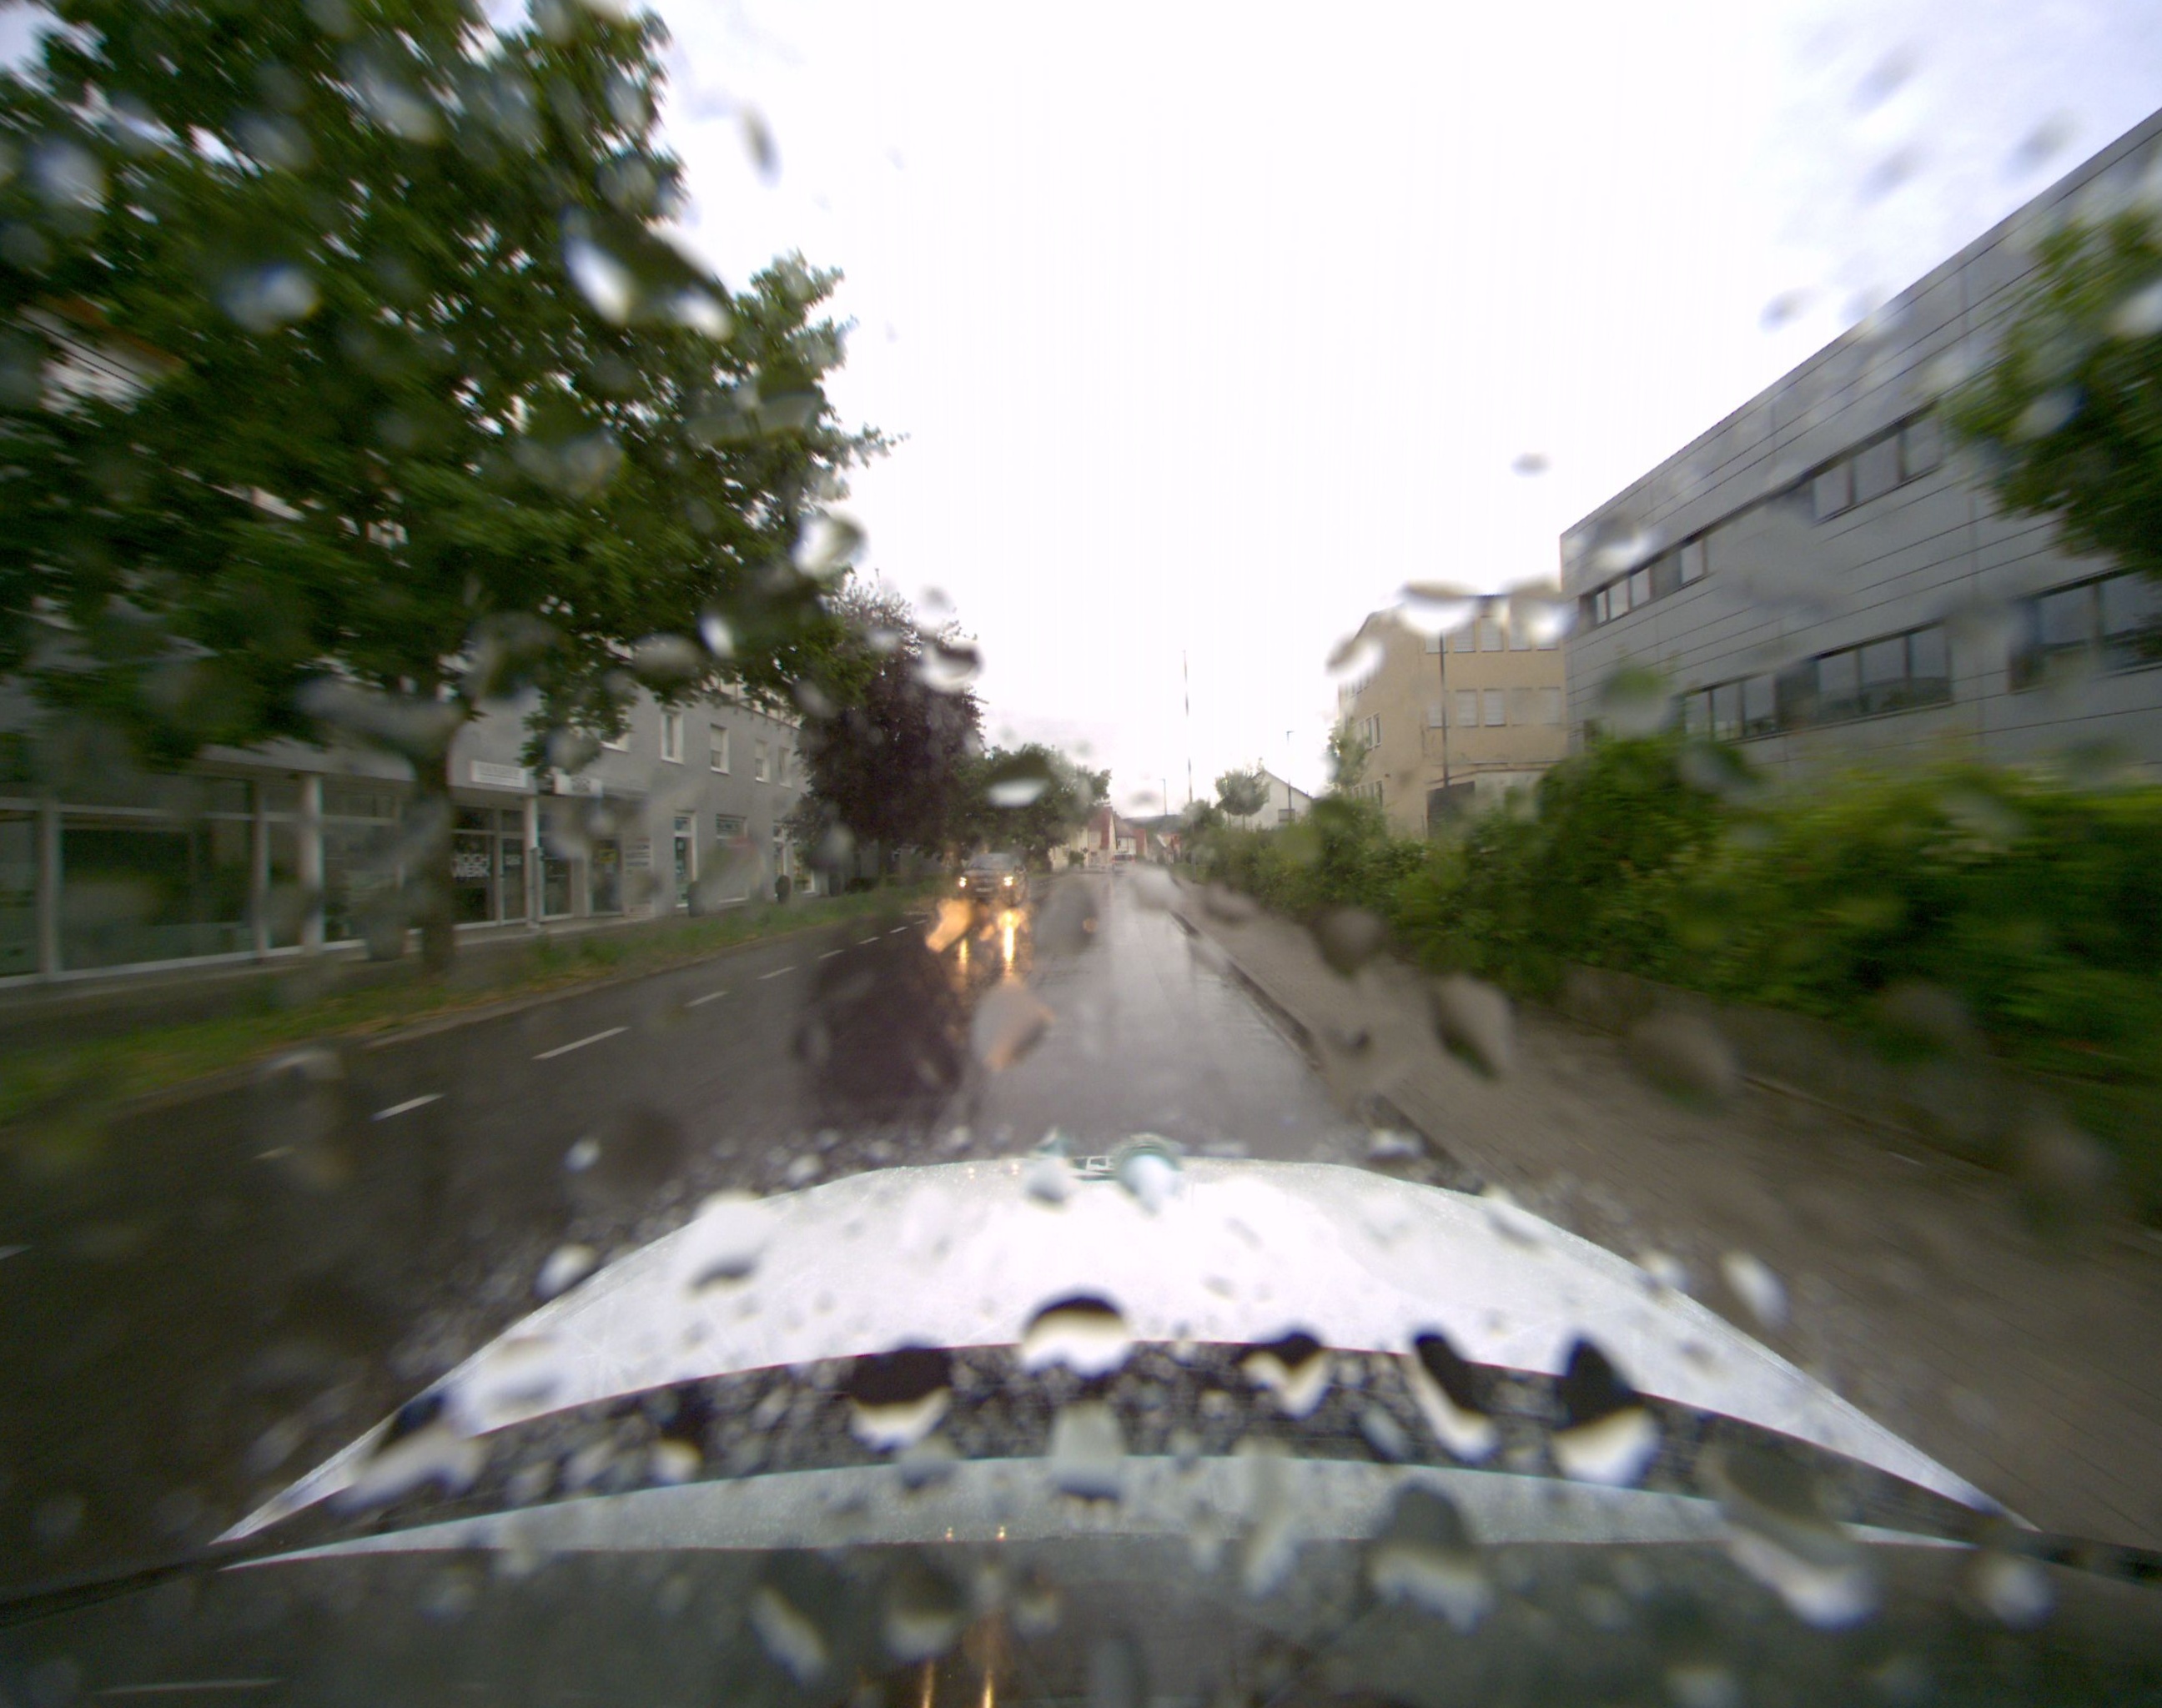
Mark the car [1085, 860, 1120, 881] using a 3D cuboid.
[{"bbox_3d":[3.182,2.455,119.153,4.528,2.012,2.166,-14,-2,9],"label":"car"}]

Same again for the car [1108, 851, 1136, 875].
[{"bbox_3d":[3.381,0.703,67.346,2.110,1.888,4.502,-1,1,0],"label":"car"}]

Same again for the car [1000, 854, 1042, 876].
[{"bbox_3d":[-4.481,0.859,61.263,2.896,1.455,1.254,-3,-3,3],"label":"car"}]

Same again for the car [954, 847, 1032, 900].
[{"bbox_3d":[-2.808,0.580,26.956,1.843,1.554,4.505,-1,1,3],"label":"car"}]
